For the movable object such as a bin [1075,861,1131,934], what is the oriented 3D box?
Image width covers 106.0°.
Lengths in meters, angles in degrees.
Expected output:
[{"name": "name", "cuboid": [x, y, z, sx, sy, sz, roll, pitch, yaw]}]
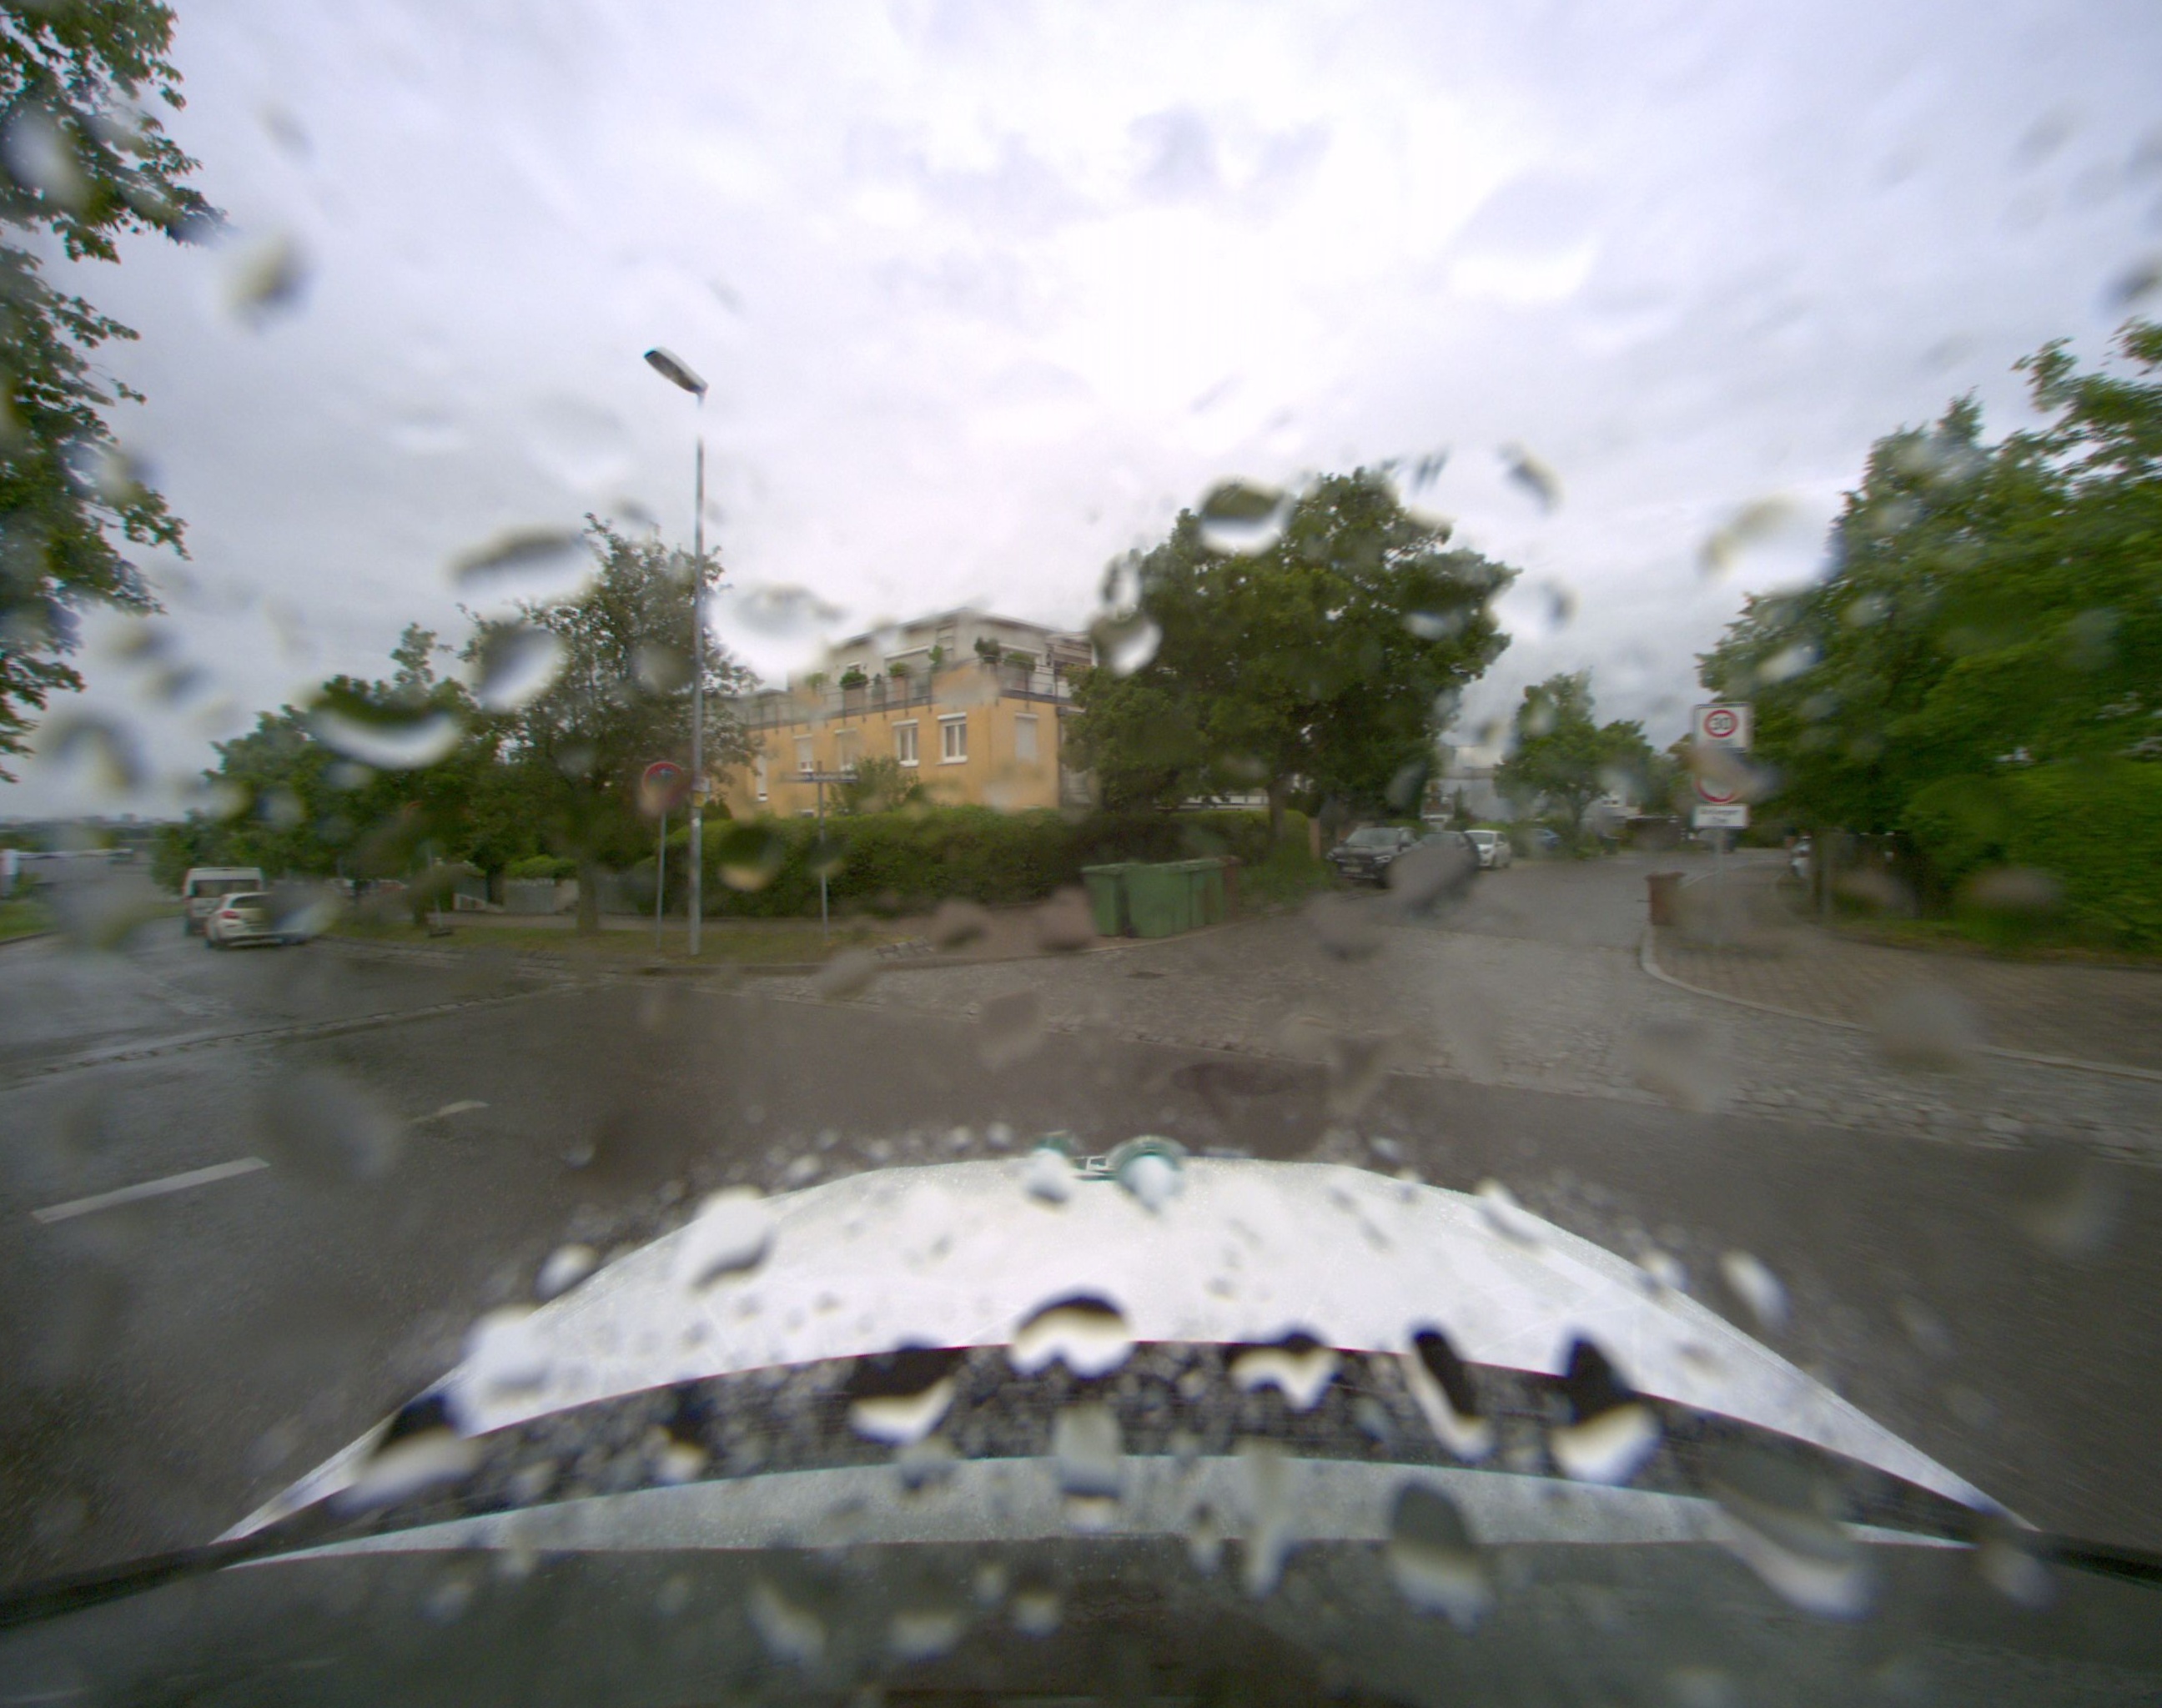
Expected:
[{"name": "movable object such as a bin", "cuboid": [0.344, 0.665, 12.673, 0.659, 1.073, 0.547, 0, 2, 30]}]

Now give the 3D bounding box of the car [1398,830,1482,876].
[{"name": "car", "cuboid": [12.048, -0.085, 27.207, 1.620, 1.409, 3.628, 3, 3, 39]}]

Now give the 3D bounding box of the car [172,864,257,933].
[{"name": "car", "cuboid": [-34.367, 1.713, 32.291, 5.439, 2.467, 2.138, -3, -1, 42]}]

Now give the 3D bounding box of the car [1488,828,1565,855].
[{"name": "car", "cuboid": [27.246, -0.793, 49.837, 3.949, 1.568, 1.921, 1, 2, 34]}]

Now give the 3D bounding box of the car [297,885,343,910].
[{"name": "car", "cuboid": [-55.171, 3.120, 59.108, 1.698, 1.552, 3.660, -1, 1, -32]}]

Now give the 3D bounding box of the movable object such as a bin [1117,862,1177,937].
[{"name": "movable object such as a bin", "cuboid": [1.002, 0.669, 12.341, 0.687, 1.074, 0.606, 0, 2, 30]}]

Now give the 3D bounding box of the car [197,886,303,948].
[{"name": "car", "cuboid": [-22.774, 1.681, 22.285, 3.678, 1.503, 1.621, -3, -1, 38]}]

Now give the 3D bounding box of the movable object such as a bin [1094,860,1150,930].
[{"name": "movable object such as a bin", "cuboid": [0.664, 0.647, 13.204, 0.687, 1.072, 0.601, 0, 2, 30]}]

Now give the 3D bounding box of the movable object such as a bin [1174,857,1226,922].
[{"name": "movable object such as a bin", "cuboid": [2.028, 0.586, 13.868, 0.687, 1.055, 0.609, 0, 2, 30]}]

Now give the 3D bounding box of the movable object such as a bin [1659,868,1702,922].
[{"name": "movable object such as a bin", "cuboid": [10.917, 0.730, 14.835, 0.565, 0.931, 0.533, 1, 1, 43]}]

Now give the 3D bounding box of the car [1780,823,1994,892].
[{"name": "car", "cuboid": [21.438, 0.093, 21.842, 1.790, 1.663, 3.950, -2, 1, -45]}]

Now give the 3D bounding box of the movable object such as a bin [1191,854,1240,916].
[{"name": "movable object such as a bin", "cuboid": [2.410, 0.547, 14.550, 0.687, 1.055, 0.609, 0, 2, 30]}]

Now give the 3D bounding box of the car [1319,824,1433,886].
[{"name": "car", "cuboid": [8.245, -0.041, 22.565, 1.758, 1.518, 4.164, 3, 3, 37]}]

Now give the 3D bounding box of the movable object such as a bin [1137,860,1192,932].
[{"name": "movable object such as a bin", "cuboid": [1.321, 0.646, 12.845, 0.687, 1.074, 0.547, 0, 2, 30]}]

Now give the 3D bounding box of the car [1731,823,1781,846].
[{"name": "car", "cuboid": [55.823, -1.597, 67.369, 3.858, 1.810, 1.784, -1, 1, -27]}]

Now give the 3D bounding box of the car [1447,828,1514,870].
[{"name": "car", "cuboid": [15.252, -0.213, 31.036, 1.496, 1.476, 3.294, 3, 3, 40]}]

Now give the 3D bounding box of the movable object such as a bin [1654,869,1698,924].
[{"name": "movable object such as a bin", "cuboid": [10.530, 0.738, 14.419, 0.565, 0.931, 0.533, 1, 1, 43]}]

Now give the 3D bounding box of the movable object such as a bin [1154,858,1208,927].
[{"name": "movable object such as a bin", "cuboid": [1.637, 0.615, 13.359, 0.687, 1.067, 0.583, 0, 2, 30]}]

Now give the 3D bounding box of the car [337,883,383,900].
[{"name": "car", "cuboid": [-82.001, 4.220, 92.689, 3.583, 1.605, 1.677, -4, 0, -28]}]
